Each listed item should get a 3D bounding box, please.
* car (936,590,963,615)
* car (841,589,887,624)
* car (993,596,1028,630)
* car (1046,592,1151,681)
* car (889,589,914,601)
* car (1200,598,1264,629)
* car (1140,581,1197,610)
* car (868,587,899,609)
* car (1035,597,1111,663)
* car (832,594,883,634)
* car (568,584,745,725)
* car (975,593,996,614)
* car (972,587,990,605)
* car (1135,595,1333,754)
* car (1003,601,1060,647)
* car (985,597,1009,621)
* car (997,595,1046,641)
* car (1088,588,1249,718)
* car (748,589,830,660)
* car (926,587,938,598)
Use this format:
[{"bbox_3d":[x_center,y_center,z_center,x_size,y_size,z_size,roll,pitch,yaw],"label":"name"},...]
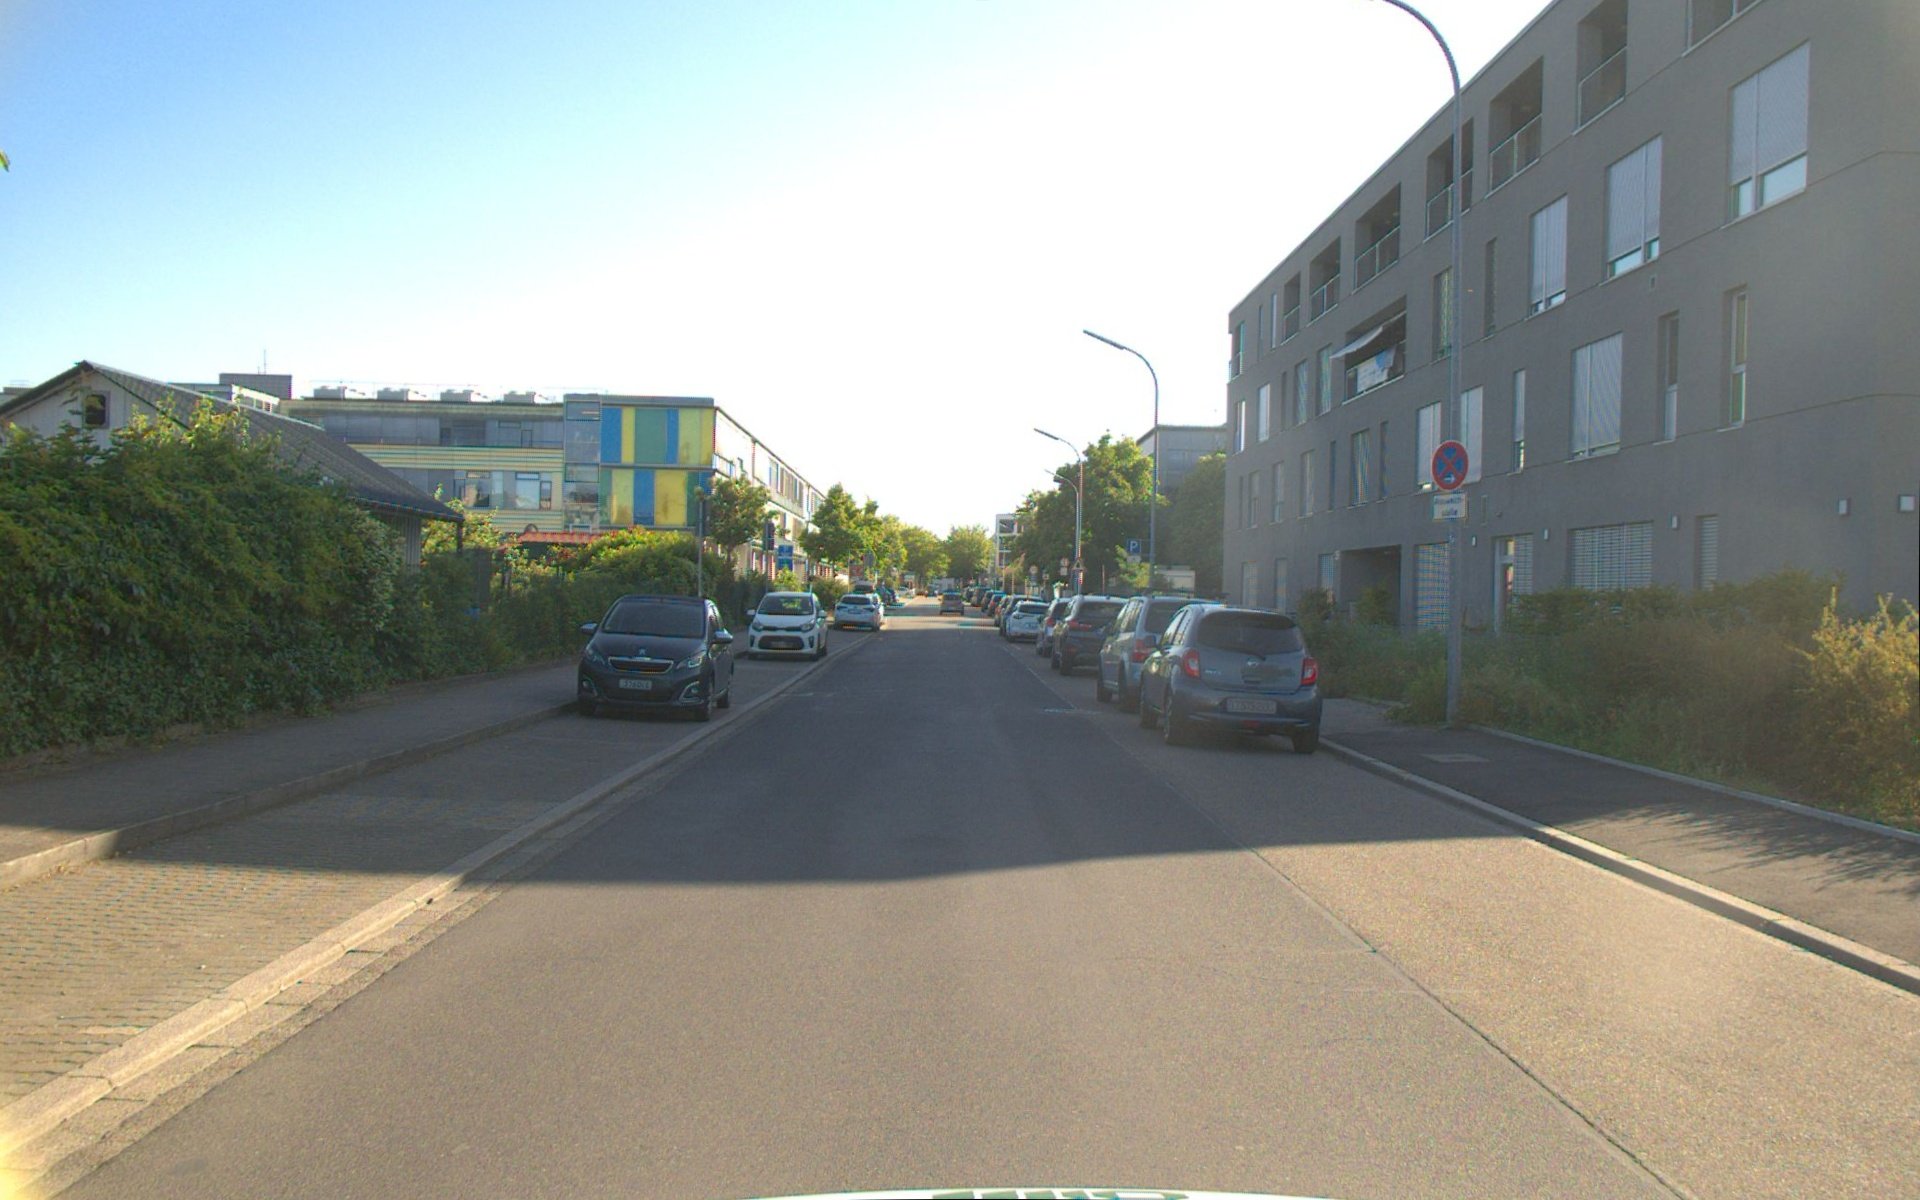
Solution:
[{"bbox_3d":[-0.731,0.149,112.888,1.655,1.576,3.613,3,0,-2],"label":"car"},{"bbox_3d":[-4.321,0.295,74.800,1.817,1.453,4.133,3,0,-1],"label":"car"},{"bbox_3d":[2.454,0.625,80.880,1.416,1.576,3.613,3,0,-2],"label":"car"},{"bbox_3d":[2.829,0.711,34.527,1.706,1.653,4.178,3,0,-1],"label":"car"},{"bbox_3d":[-8.506,-0.773,241.780,3.533,1.576,1.448,3,0,-6],"label":"car"},{"bbox_3d":[14.604,0.706,88.886,3.149,1.486,1.450,3,0,2],"label":"car"},{"bbox_3d":[12.289,-0.262,97.460,3.149,1.576,1.450,3,0,2],"label":"car"},{"bbox_3d":[-5.804,-0.148,126.518,1.816,1.590,4.136,3,0,4],"label":"car"},{"bbox_3d":[2.933,0.747,43.524,1.623,1.578,3.850,3,0,-1],"label":"car"},{"bbox_3d":[-4.144,0.549,67.225,1.817,1.453,4.133,3,0,-1],"label":"car"},{"bbox_3d":[-3.733,0.626,20.880,1.528,1.520,3.570,4,0,-1],"label":"car"},{"bbox_3d":[1.955,0.268,129.090,1.416,1.576,3.613,3,0,-2],"label":"car"},{"bbox_3d":[1.937,-0.362,154.500,1.416,1.576,3.613,3,0,-2],"label":"car"},{"bbox_3d":[3.064,0.777,19.195,1.589,1.553,3.901,4,0,0],"label":"car"},{"bbox_3d":[2.488,0.828,58.460,1.706,1.453,4.133,3,0,-1],"label":"car"},{"bbox_3d":[2.520,0.604,113.095,1.416,1.576,3.613,3,0,-2],"label":"car"},{"bbox_3d":[2.358,0.675,64.467,1.599,1.658,3.613,3,0,-2],"label":"car"},{"bbox_3d":[2.945,0.703,24.168,1.643,1.636,4.177,4,0,-2],"label":"car"},{"bbox_3d":[-3.878,0.523,37.923,1.528,1.521,3.757,1,0,-1],"label":"car"},{"bbox_3d":[-4.285,-1.128,252.885,1.630,1.576,3.901,3,0,-2],"label":"car"}]
